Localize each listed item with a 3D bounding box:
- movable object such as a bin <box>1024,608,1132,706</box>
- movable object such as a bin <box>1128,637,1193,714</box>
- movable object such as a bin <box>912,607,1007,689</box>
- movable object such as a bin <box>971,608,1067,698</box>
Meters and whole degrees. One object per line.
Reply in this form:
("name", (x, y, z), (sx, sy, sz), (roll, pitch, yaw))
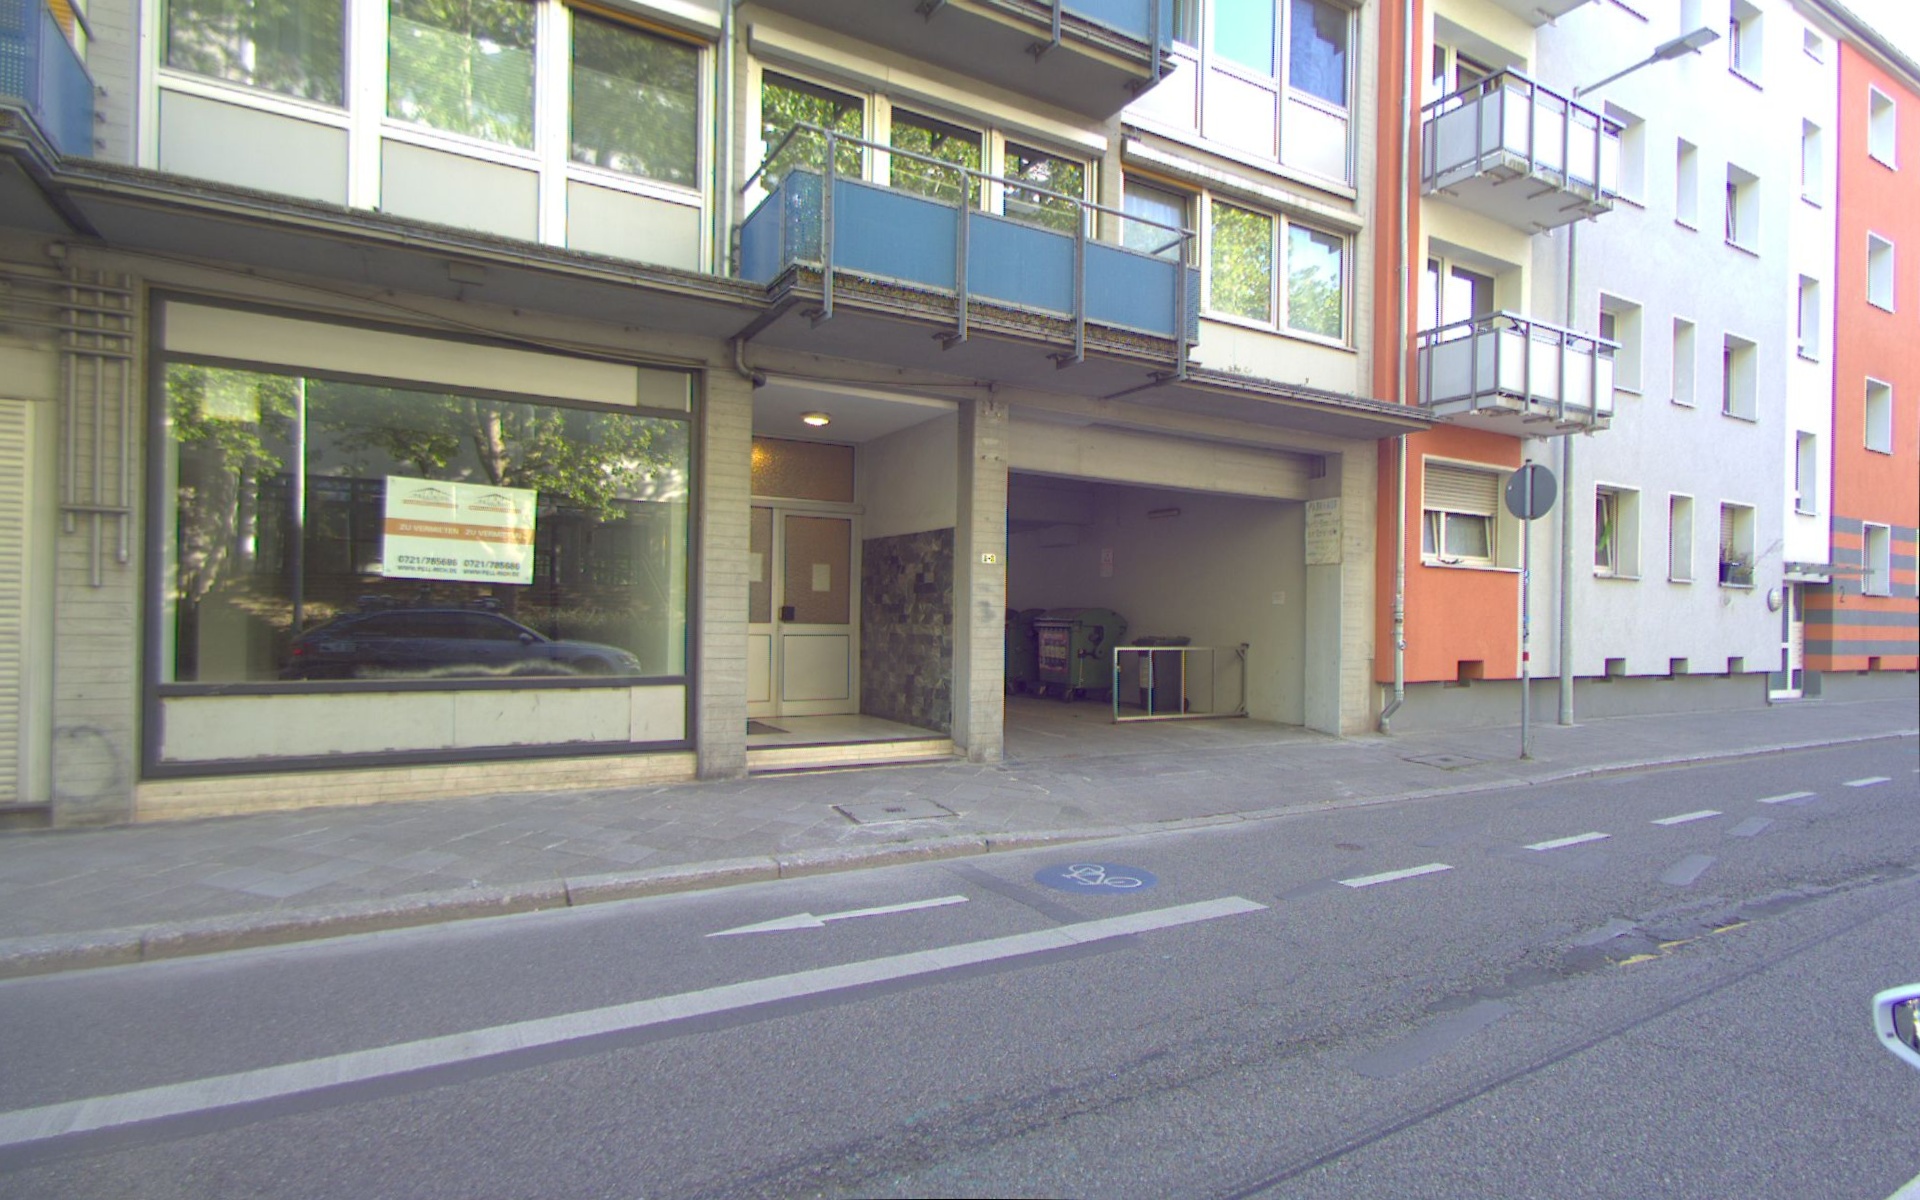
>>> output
("movable object such as a bin", (1.848, 0.869, 15.856), (1.128, 1.449, 1.342), (1, 0, -28))
("movable object such as a bin", (2.898, 1.082, 14.538), (0.695, 1.055, 0.593), (2, 0, -30))
("movable object such as a bin", (-0.031, 0.872, 18.882), (1.119, 1.449, 1.666), (1, -1, -28))
("movable object such as a bin", (0.996, 0.875, 17.179), (1.119, 1.449, 1.322), (1, 0, -28))
